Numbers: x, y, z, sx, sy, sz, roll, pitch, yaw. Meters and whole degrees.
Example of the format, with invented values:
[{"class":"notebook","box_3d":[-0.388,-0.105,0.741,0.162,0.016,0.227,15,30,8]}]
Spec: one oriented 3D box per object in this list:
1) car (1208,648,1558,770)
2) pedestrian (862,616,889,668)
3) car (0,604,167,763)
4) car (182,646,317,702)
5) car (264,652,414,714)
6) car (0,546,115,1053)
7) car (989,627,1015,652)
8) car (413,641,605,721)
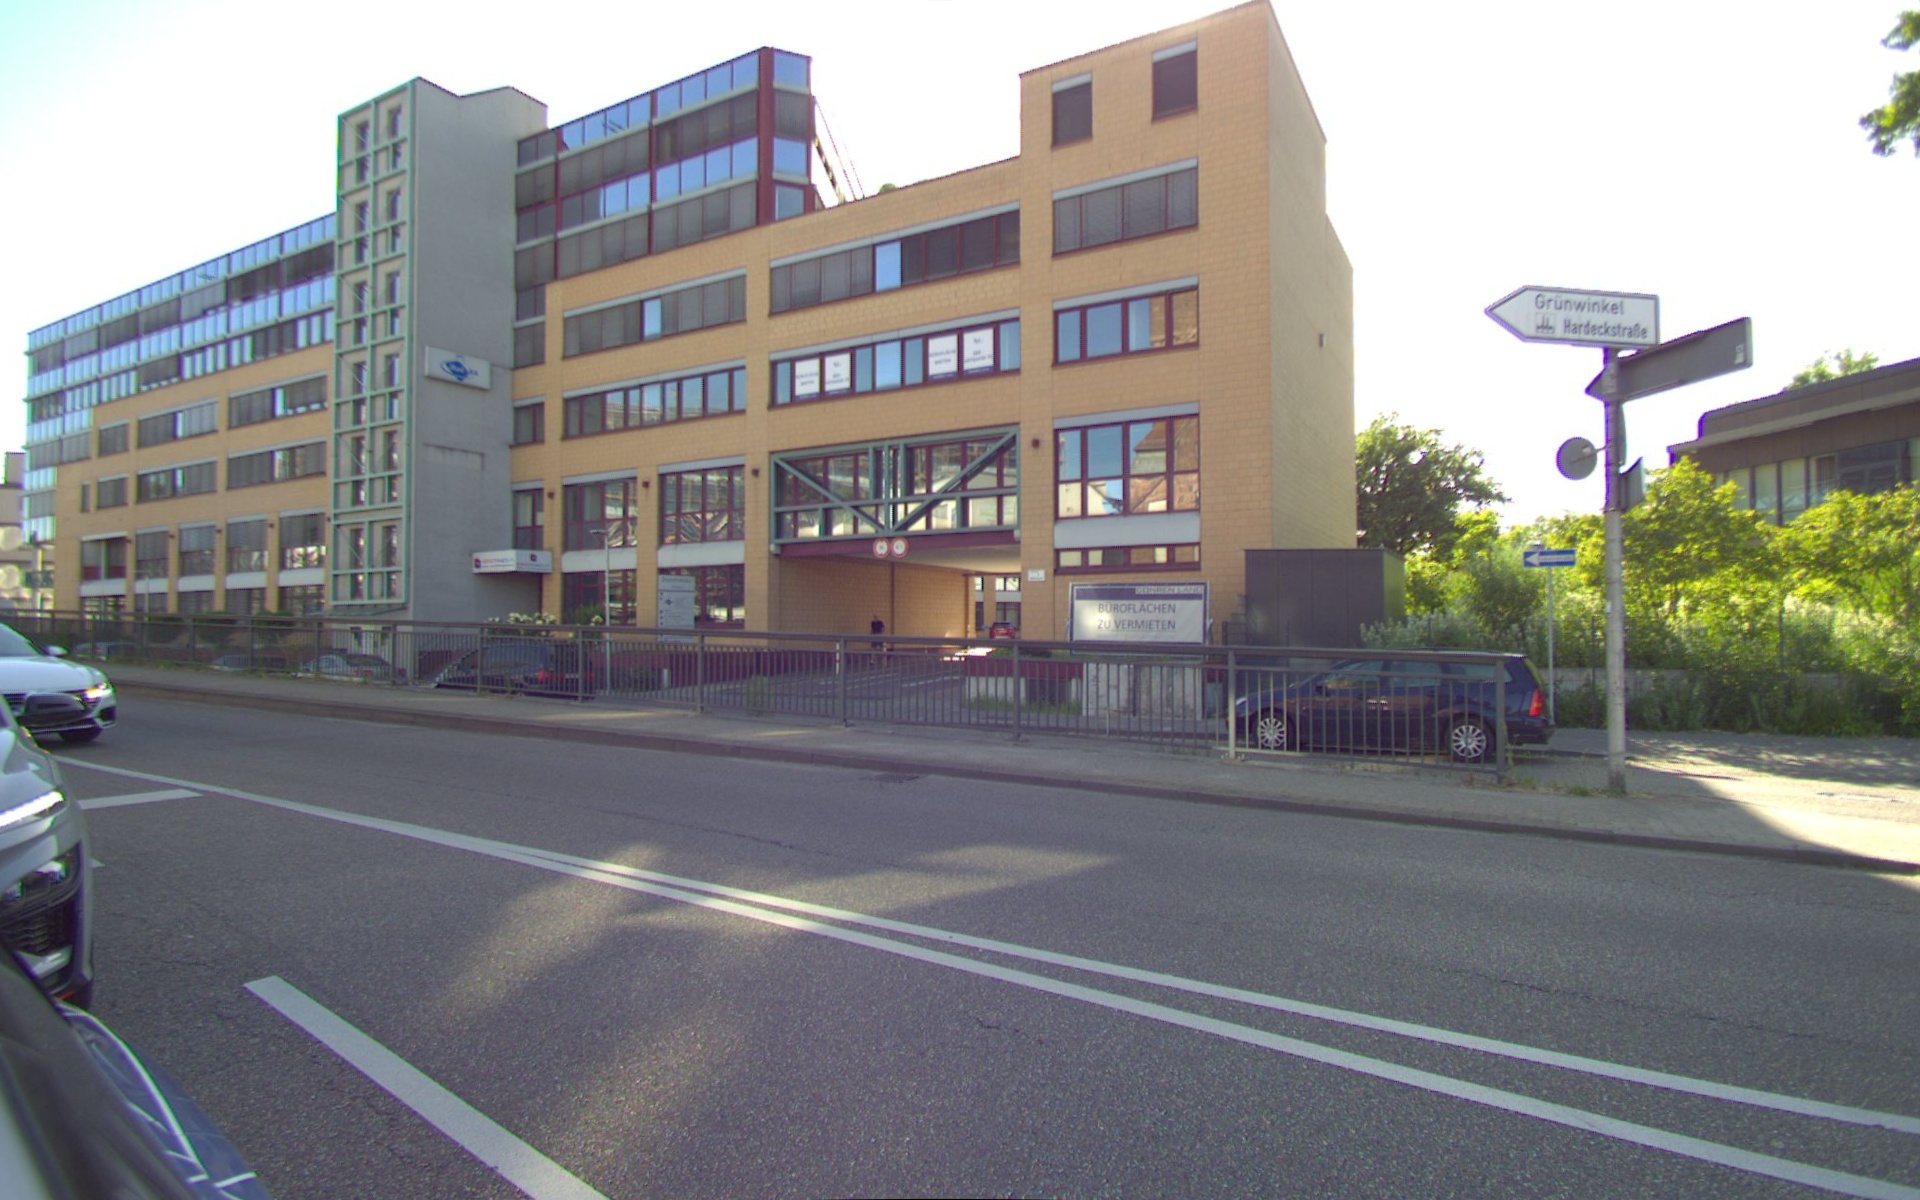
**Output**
[{"class":"car","box_3d":[6.058,1.463,14.697,4.438,1.515,1.805,-2,-3,33]},{"class":"pedestrian","box_3d":[-3.073,1.510,36.772,0.676,1.858,0.779,-2,-3,28]},{"class":"car","box_3d":[-11.438,0.827,11.401,4.473,1.547,1.839,1,0,19]},{"class":"car","box_3d":[-22.281,2.255,31.718,4.340,1.616,1.807,-1,-3,30]},{"class":"car","box_3d":[-17.741,2.308,28.866,4.340,1.616,1.807,-1,-3,30]},{"class":"car","box_3d":[-4.996,0.633,4.077,4.219,1.582,1.825,-1,-1,41]},{"class":"car","box_3d":[2.749,2.593,66.734,1.621,1.586,3.150,-1,-2,2]},{"class":"car","box_3d":[-11.153,1.926,24.945,4.667,1.771,1.938,-1,-1,29]}]
